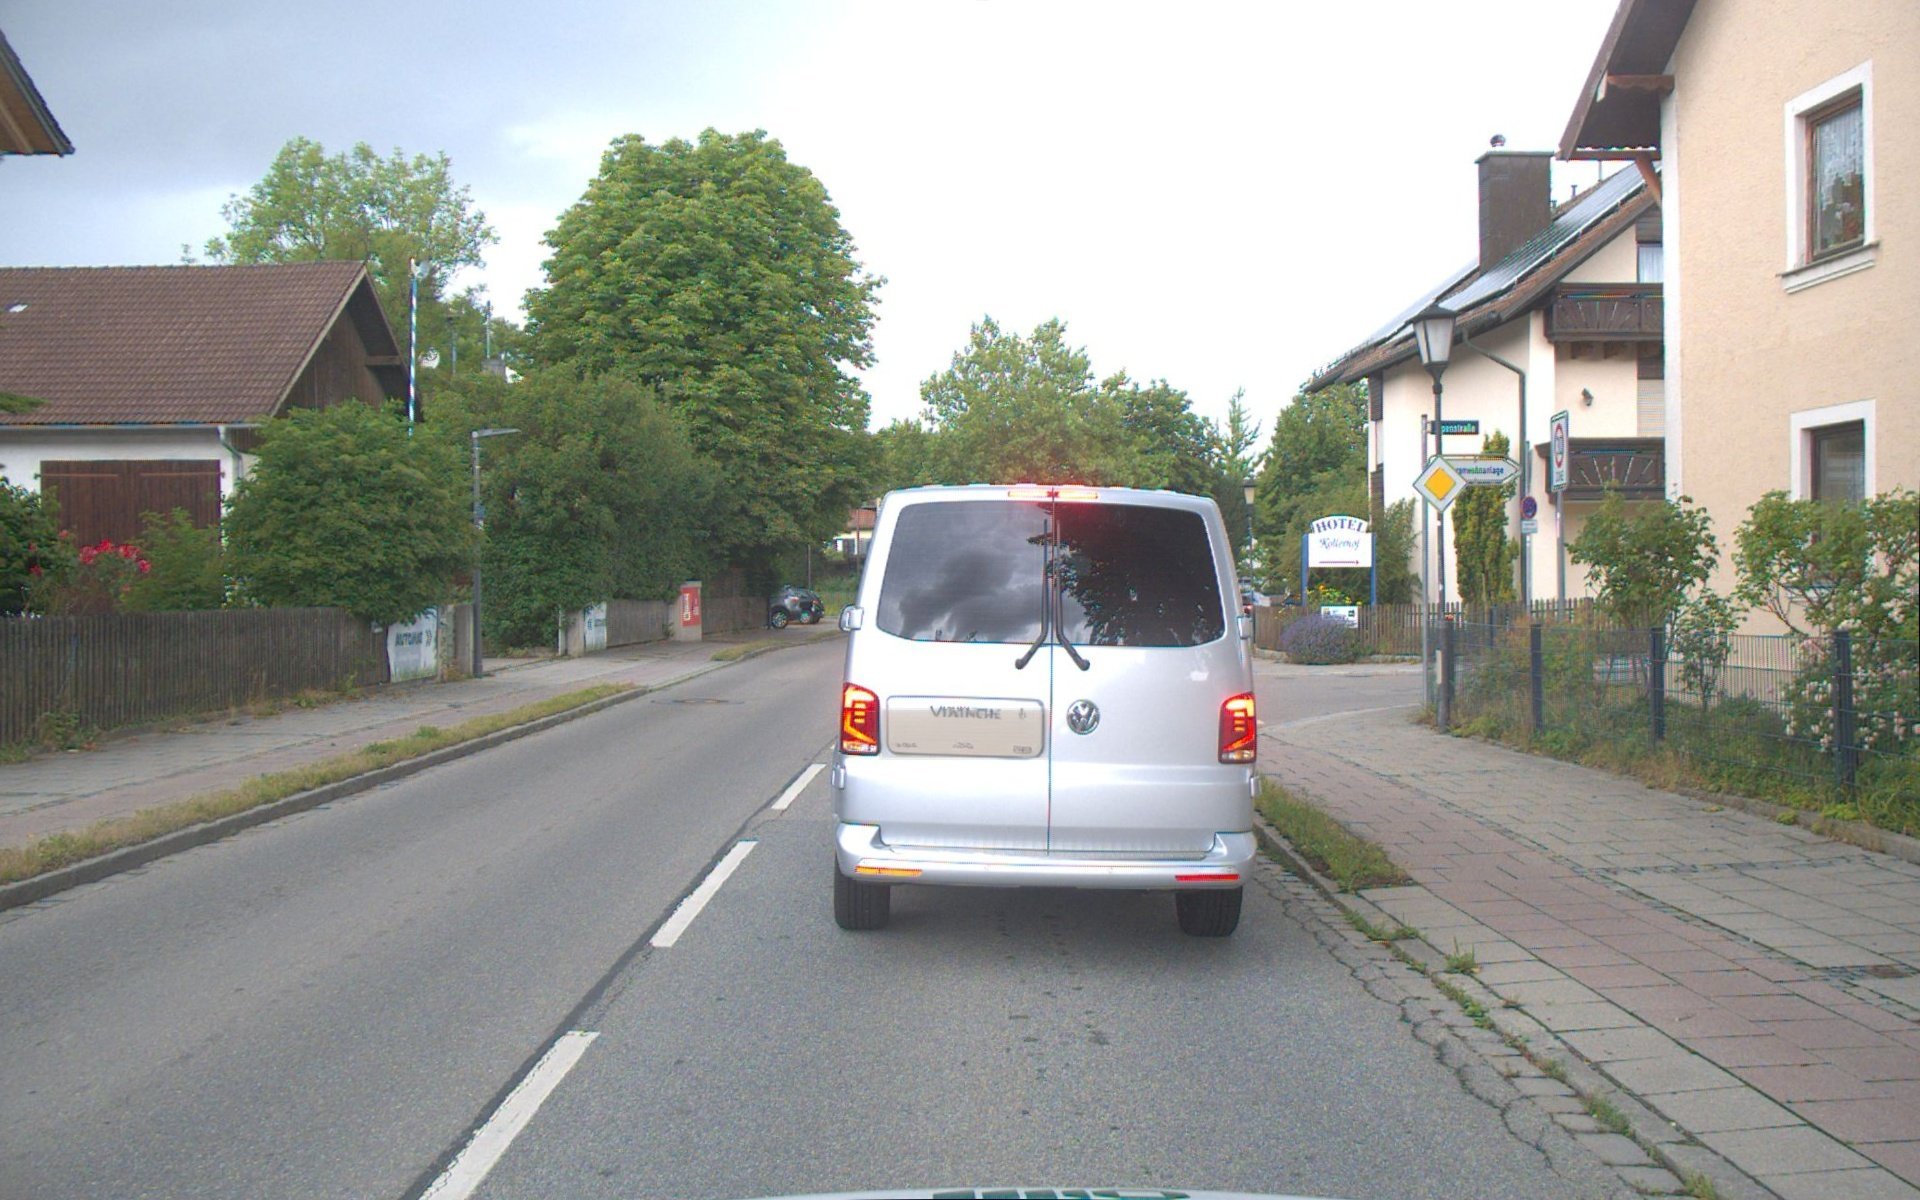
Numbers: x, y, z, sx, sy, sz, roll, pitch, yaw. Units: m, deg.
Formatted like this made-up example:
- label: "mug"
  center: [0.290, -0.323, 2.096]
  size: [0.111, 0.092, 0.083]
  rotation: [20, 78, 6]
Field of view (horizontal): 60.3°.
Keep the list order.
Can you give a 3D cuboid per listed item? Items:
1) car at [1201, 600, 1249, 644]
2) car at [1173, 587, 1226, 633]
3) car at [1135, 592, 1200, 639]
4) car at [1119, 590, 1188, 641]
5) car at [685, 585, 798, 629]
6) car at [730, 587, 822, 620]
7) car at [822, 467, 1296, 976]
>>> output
- label: "car"
  center: [11.679, 0.954, 72.782]
  size: [1.841, 1.857, 3.924]
  rotation: [0, 0, 13]
- label: "car"
  center: [9.600, 0.381, 66.015]
  size: [1.841, 1.779, 4.084]
  rotation: [-1, 0, 12]
- label: "car"
  center: [7.225, 0.519, 57.244]
  size: [1.841, 1.562, 3.924]
  rotation: [0, 0, 13]
- label: "car"
  center: [6.167, 0.472, 52.413]
  size: [1.841, 1.562, 3.924]
  rotation: [0, 0, 11]
- label: "car"
  center: [-7.777, 0.250, 58.793]
  size: [3.913, 1.512, 1.996]
  rotation: [0, 0, -9]
- label: "car"
  center: [-7.668, 0.142, 68.878]
  size: [3.683, 1.369, 1.579]
  rotation: [0, 0, -11]
- label: "car"
  center: [0.390, 0.464, 8.417]
  size: [1.843, 1.974, 3.920]
  rotation: [0, 0, 0]
